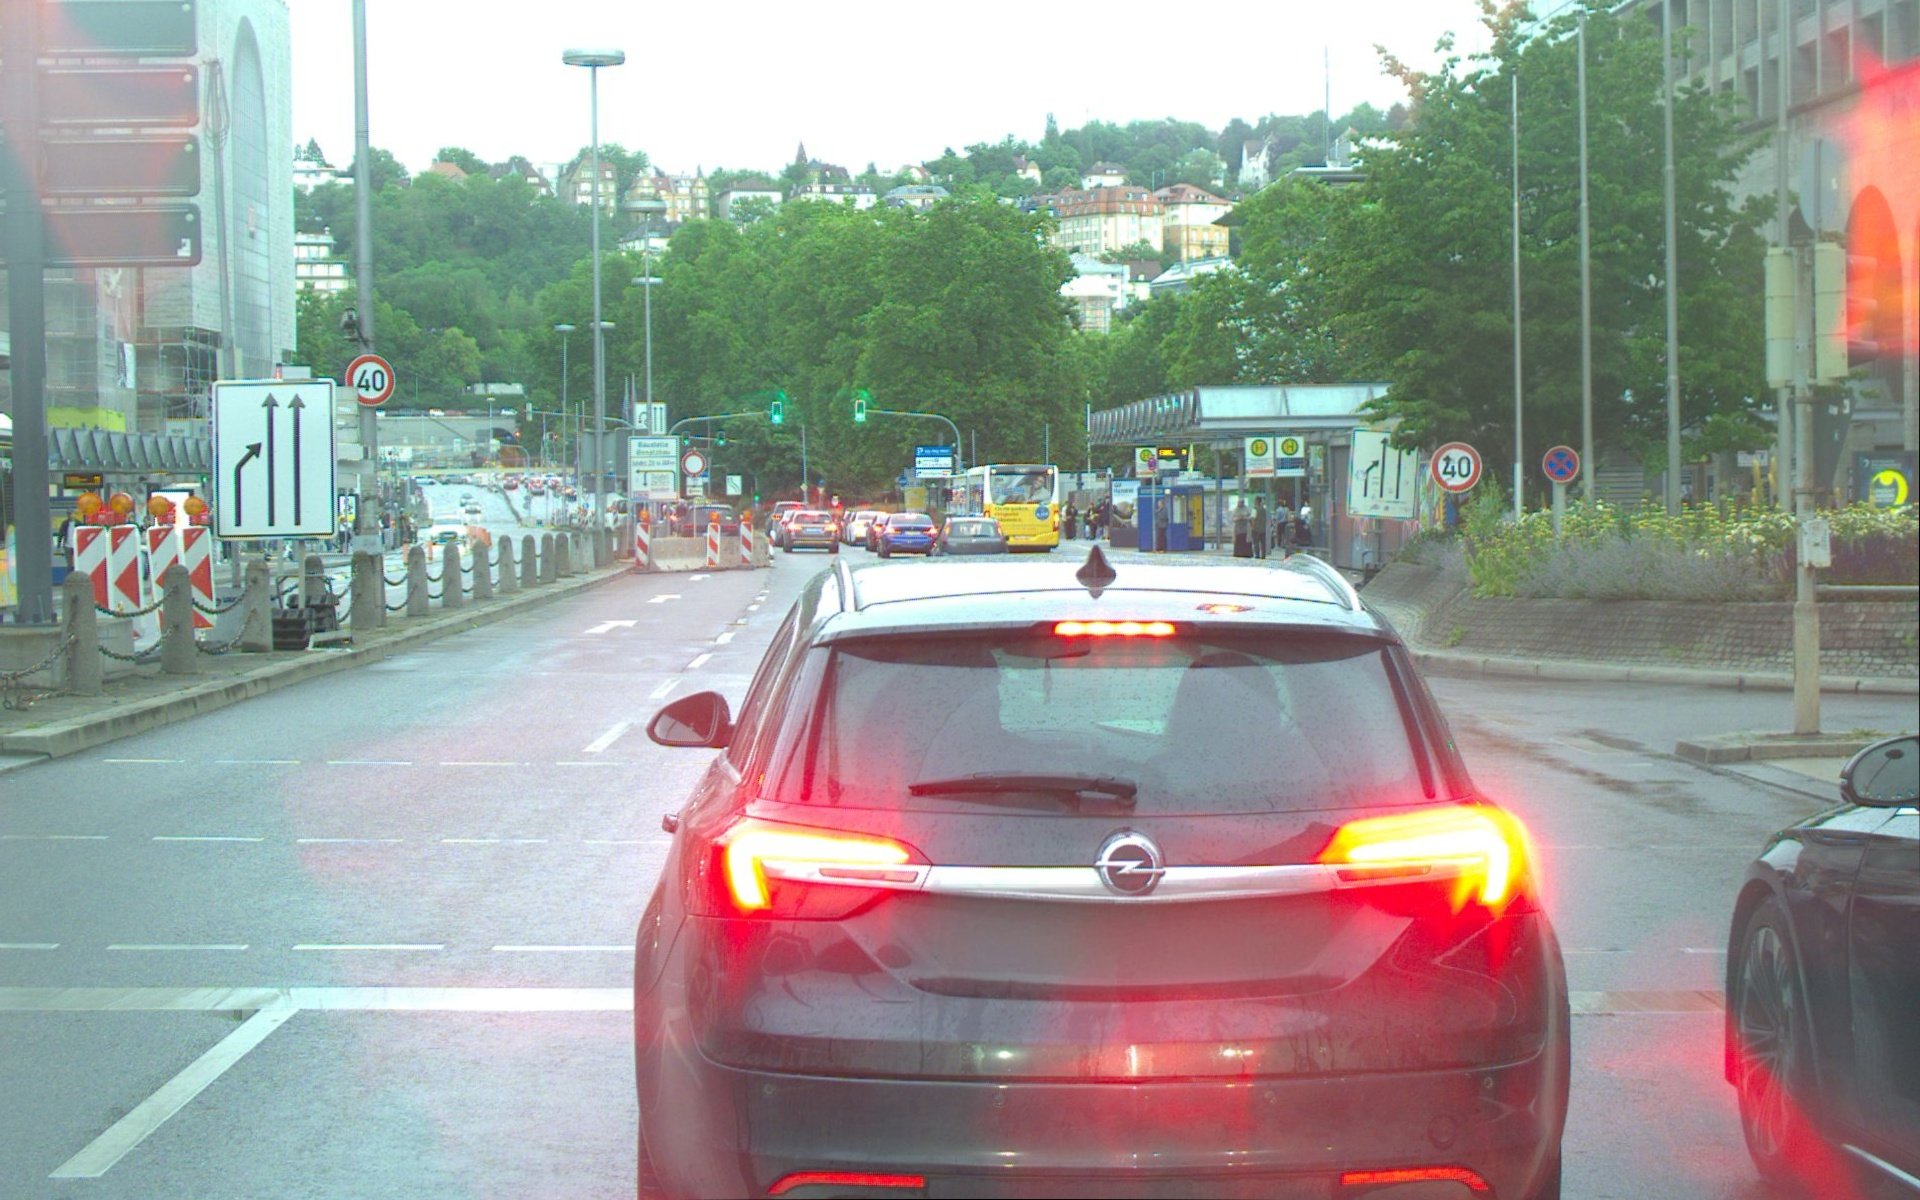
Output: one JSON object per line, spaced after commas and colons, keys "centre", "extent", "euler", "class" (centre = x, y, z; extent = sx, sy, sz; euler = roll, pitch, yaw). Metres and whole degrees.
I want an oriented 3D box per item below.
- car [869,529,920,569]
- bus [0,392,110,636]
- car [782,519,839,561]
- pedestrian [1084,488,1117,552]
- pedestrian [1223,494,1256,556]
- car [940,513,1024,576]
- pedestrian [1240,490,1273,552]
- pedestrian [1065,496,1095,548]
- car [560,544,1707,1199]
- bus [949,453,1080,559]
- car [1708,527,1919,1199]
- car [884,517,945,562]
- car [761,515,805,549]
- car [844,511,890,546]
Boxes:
{"centre": [-2.415, -1.872, 125.782], "extent": [1.753, 1.393, 4.402], "euler": [1, 1, -2], "class": "car"}
{"centre": [-15.514, -1.310, 52.340], "extent": [2.668, 3.589, 10.212], "euler": [1, 1, -1], "class": "bus"}
{"centre": [-5.150, -2.075, 118.977], "extent": [1.845, 1.393, 3.564], "euler": [1, 1, -1], "class": "car"}
{"centre": [5.403, -3.068, 132.314], "extent": [1.199, 2.427, 1.228], "euler": [1, 1, 1], "class": "pedestrian"}
{"centre": [7.737, -2.070, 95.236], "extent": [0.763, 1.684, 0.825], "euler": [1, 1, -5], "class": "pedestrian"}
{"centre": [0.479, -1.265, 78.777], "extent": [1.845, 1.393, 3.667], "euler": [1, 1, -1], "class": "car"}
{"centre": [8.123, -2.166, 94.267], "extent": [0.763, 1.684, 0.825], "euler": [1, 1, -5], "class": "pedestrian"}
{"centre": [5.100, -3.305, 145.943], "extent": [1.199, 2.141, 1.228], "euler": [1, 1, 1], "class": "pedestrian"}
{"centre": [0.246, 0.636, 7.660], "extent": [1.874, 1.481, 4.000], "euler": [1, 1, -1], "class": "car"}
{"centre": [1.772, -3.207, 120.888], "extent": [4.173, 3.457, 14.655], "euler": [1, 1, -1], "class": "bus"}
{"centre": [2.697, 0.630, 6.019], "extent": [1.793, 1.496, 4.628], "euler": [1, 1, 1], "class": "car"}
{"centre": [-1.475, -1.920, 110.063], "extent": [1.753, 1.393, 4.649], "euler": [1, 1, -3], "class": "car"}
{"centre": [-7.694, -2.959, 149.991], "extent": [1.759, 1.393, 3.564], "euler": [1, 1, -1], "class": "car"}
{"centre": [-3.828, -2.960, 142.016], "extent": [1.845, 1.393, 3.564], "euler": [1, 1, -1], "class": "car"}
